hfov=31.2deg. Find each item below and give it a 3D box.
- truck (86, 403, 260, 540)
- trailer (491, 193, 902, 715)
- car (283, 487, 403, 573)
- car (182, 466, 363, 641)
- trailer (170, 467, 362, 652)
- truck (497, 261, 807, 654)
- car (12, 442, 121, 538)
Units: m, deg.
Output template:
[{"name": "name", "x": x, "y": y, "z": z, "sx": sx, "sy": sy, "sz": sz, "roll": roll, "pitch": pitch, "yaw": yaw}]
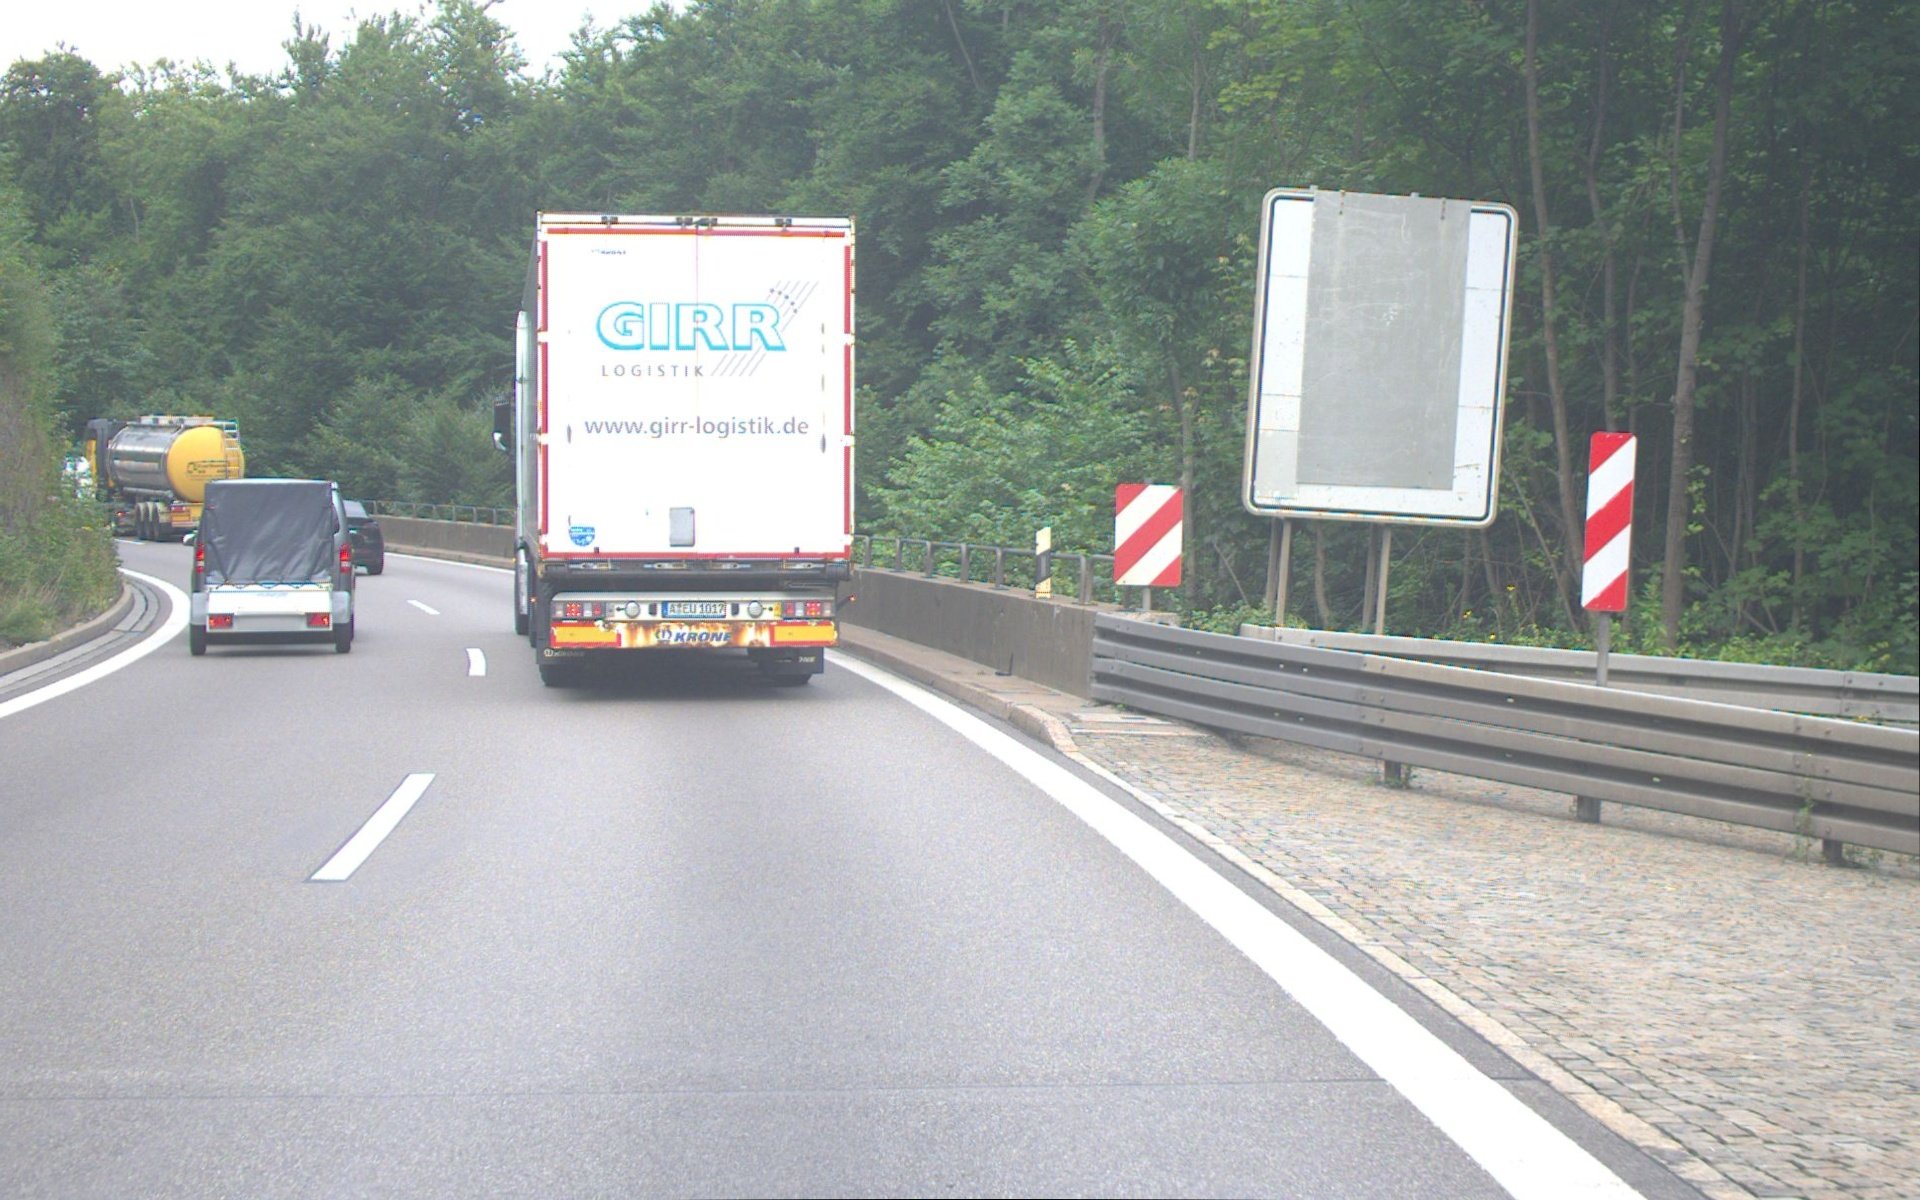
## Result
[{"name": "truck", "x": -24.575, "y": -3.937, "z": 106.743, "sx": 3.057, "sy": 3.972, "sz": 13.702, "roll": -1, "pitch": 2, "yaw": -22}, {"name": "trailer", "x": -2.826, "y": -1.464, "z": 33.188, "sx": 3.057, "sy": 3.972, "sz": 12.141, "roll": 3, "pitch": 3, "yaw": -7}, {"name": "car", "x": -13.061, "y": -1.493, "z": 72.586, "sx": 1.993, "sy": 1.656, "sz": 4.002, "roll": 2, "pitch": 1, "yaw": -17}, {"name": "car", "x": -8.387, "y": -0.583, "z": 42.329, "sx": 1.993, "sy": 2.007, "sz": 5.542, "roll": 0, "pitch": 1, "yaw": -9}, {"name": "trailer", "x": -7.606, "y": -0.457, "z": 37.922, "sx": 1.970, "sy": 1.933, "sz": 3.431, "roll": 0, "pitch": 1, "yaw": -10}, {"name": "truck", "x": -3.671, "y": -1.673, "z": 39.578, "sx": 3.057, "sy": 3.972, "sz": 7.190, "roll": 3, "pitch": 3, "yaw": -7}, {"name": "car", "x": -26.456, "y": -3.277, "z": 101.605, "sx": 1.988, "sy": 2.663, "sz": 6.938, "roll": 2, "pitch": 2, "yaw": -23}]
